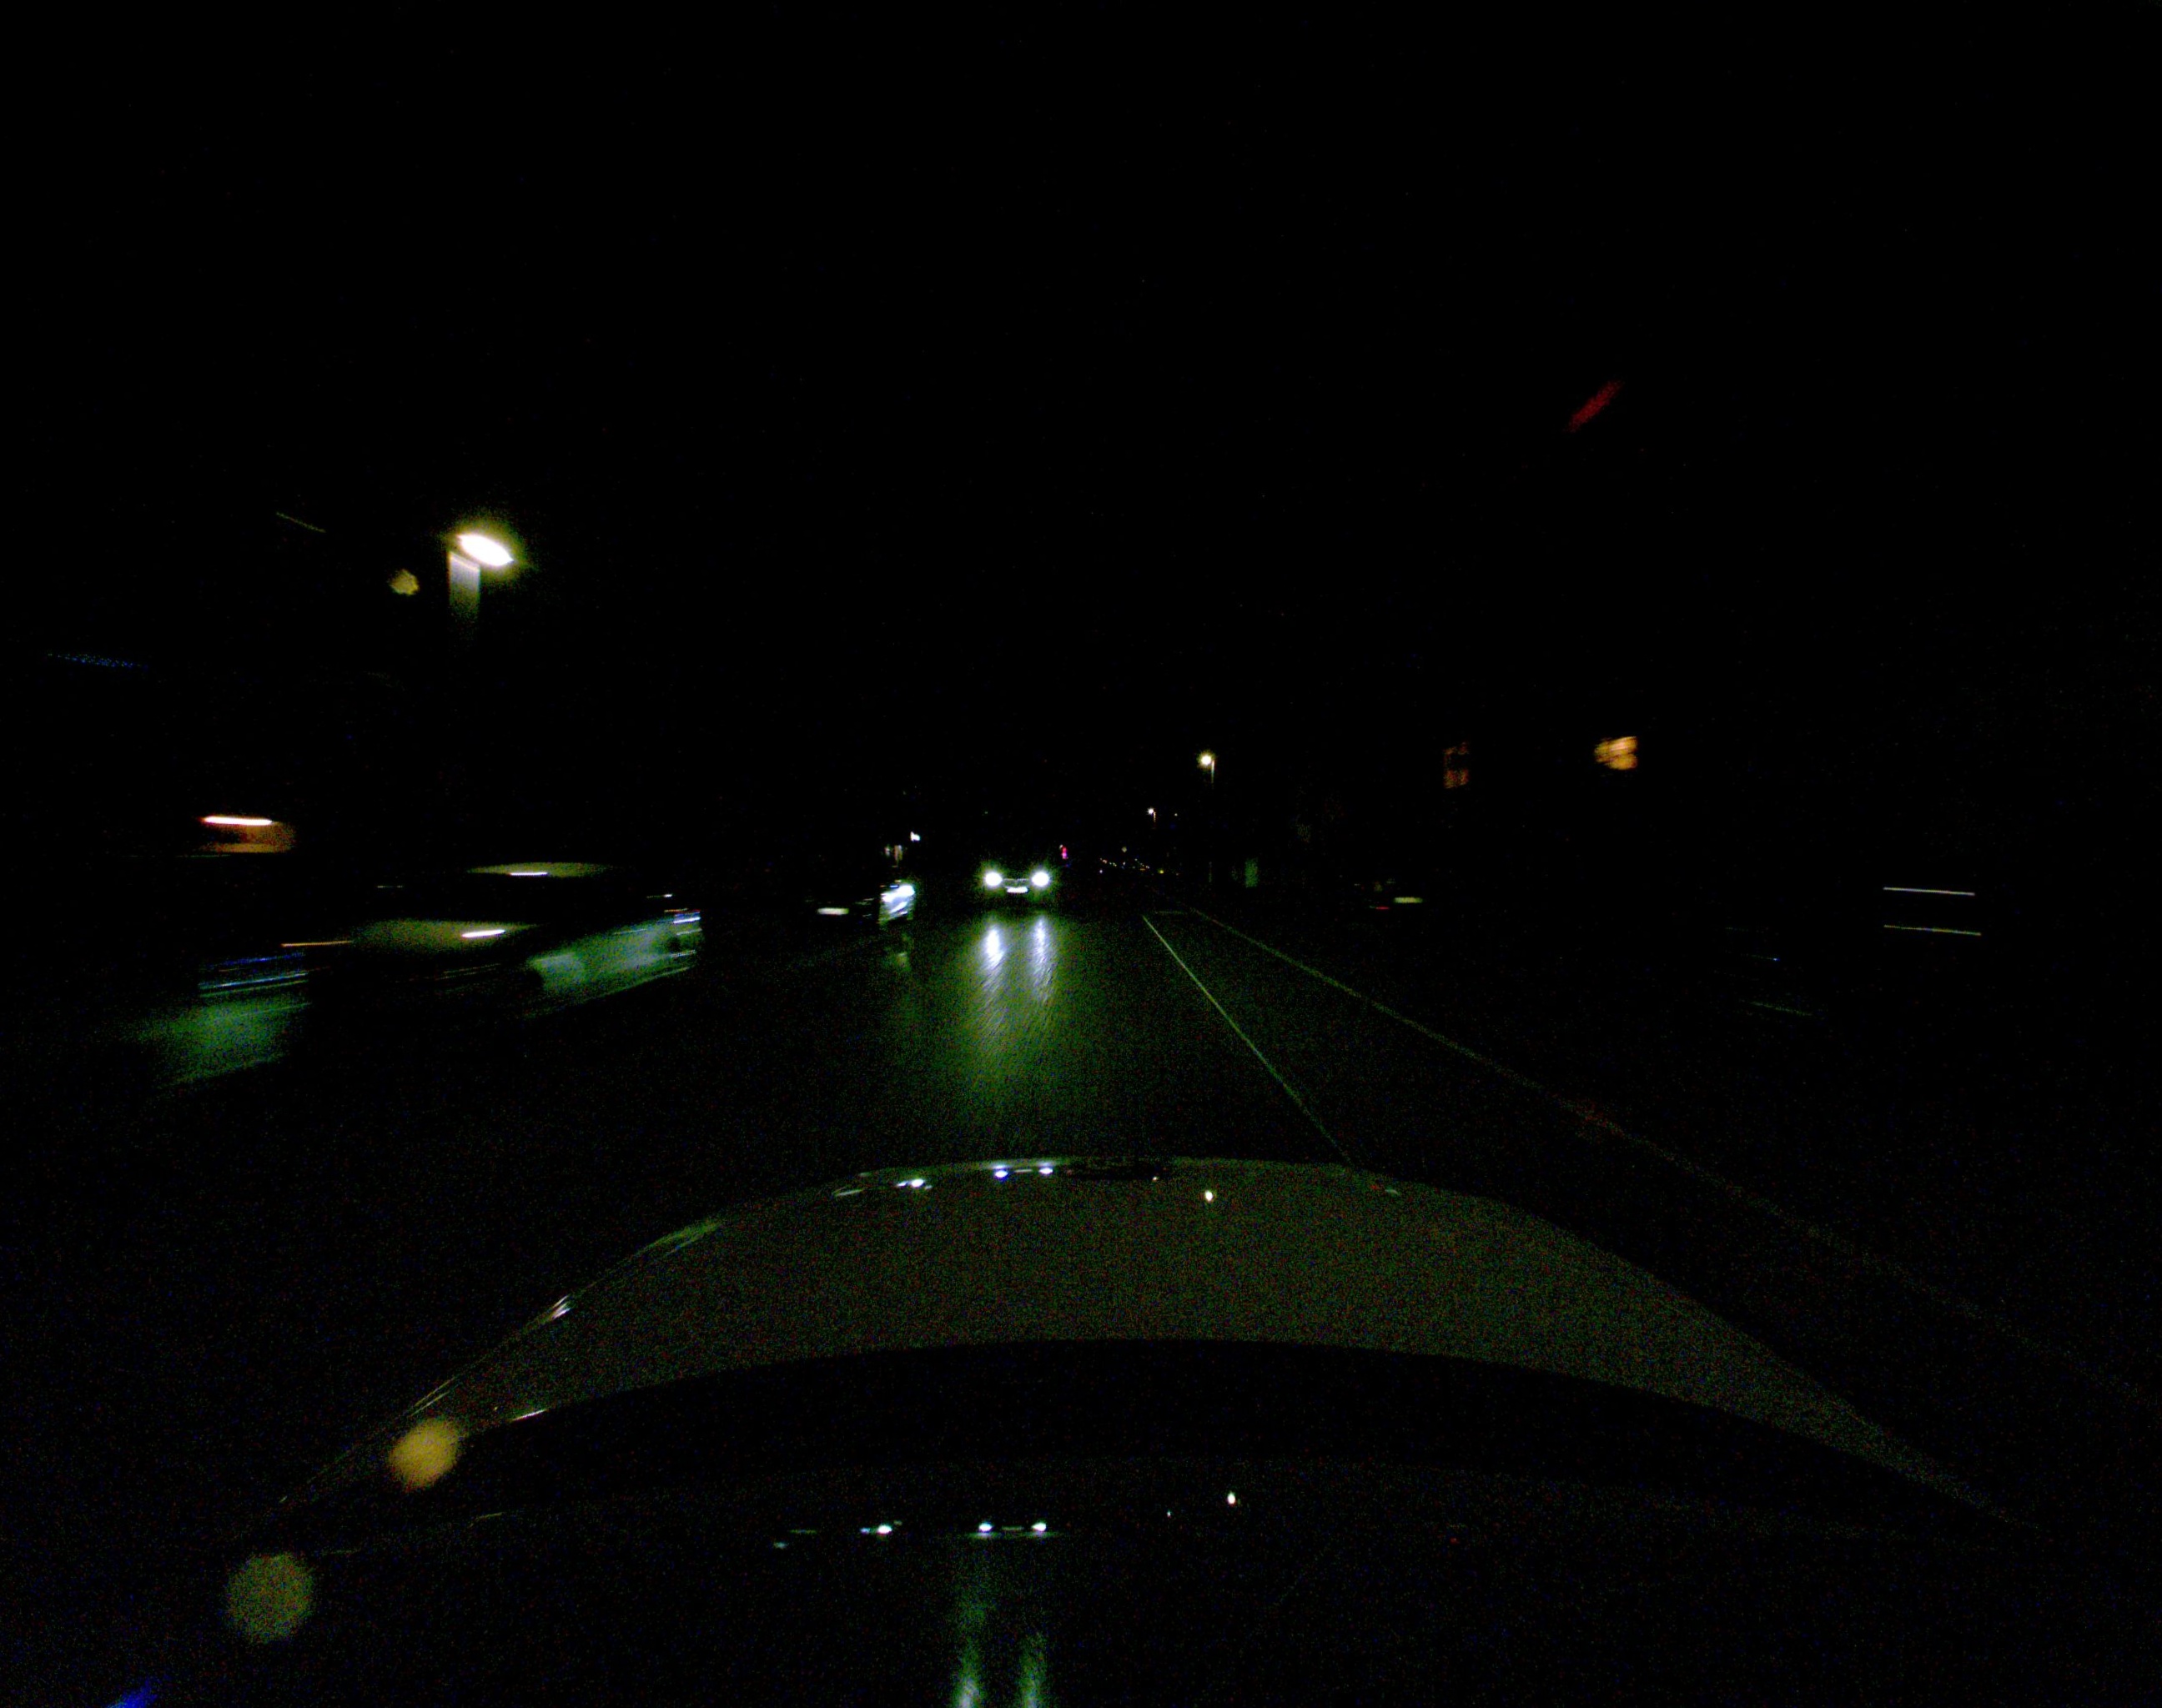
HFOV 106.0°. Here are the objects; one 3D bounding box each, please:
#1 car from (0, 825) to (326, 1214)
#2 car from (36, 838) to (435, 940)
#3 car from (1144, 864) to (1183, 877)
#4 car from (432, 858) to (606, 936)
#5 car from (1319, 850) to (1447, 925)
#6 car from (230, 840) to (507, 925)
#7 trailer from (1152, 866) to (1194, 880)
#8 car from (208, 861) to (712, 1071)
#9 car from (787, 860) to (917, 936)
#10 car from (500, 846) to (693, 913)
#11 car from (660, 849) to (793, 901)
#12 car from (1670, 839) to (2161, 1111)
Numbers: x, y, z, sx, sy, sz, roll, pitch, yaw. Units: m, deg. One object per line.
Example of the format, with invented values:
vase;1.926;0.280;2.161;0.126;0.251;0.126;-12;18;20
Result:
car;-5.488;0.671;2.602;1.922;1.636;4.470;1;0;0
car;-13.921;0.547;13.714;4.307;1.562;2.025;0;0;-7
car;7.488;1.502;74.401;3.382;1.232;1.723;0;-1;-2
car;-13.186;1.021;19.053;3.948;1.464;2.013;-6;-1;35
car;6.900;0.720;18.997;1.634;1.560;3.678;0;0;0
car;-14.472;0.555;16.721;3.969;1.618;2.002;0;0;3
trailer;7.945;1.650;70.472;3.420;1.002;1.954;3;-1;0
car;-5.357;0.822;7.834;1.765;1.469;3.965;1;0;0
car;-4.946;0.885;18.176;1.744;1.469;4.008;1;0;0
car;-13.332;0.680;22.582;4.100;1.662;2.001;-2;-1;1
car;-12.821;0.734;29.668;3.983;1.703;1.944;-2;0;-7
car;6.598;0.663;5.505;3.891;1.486;1.832;-1;-1;0
